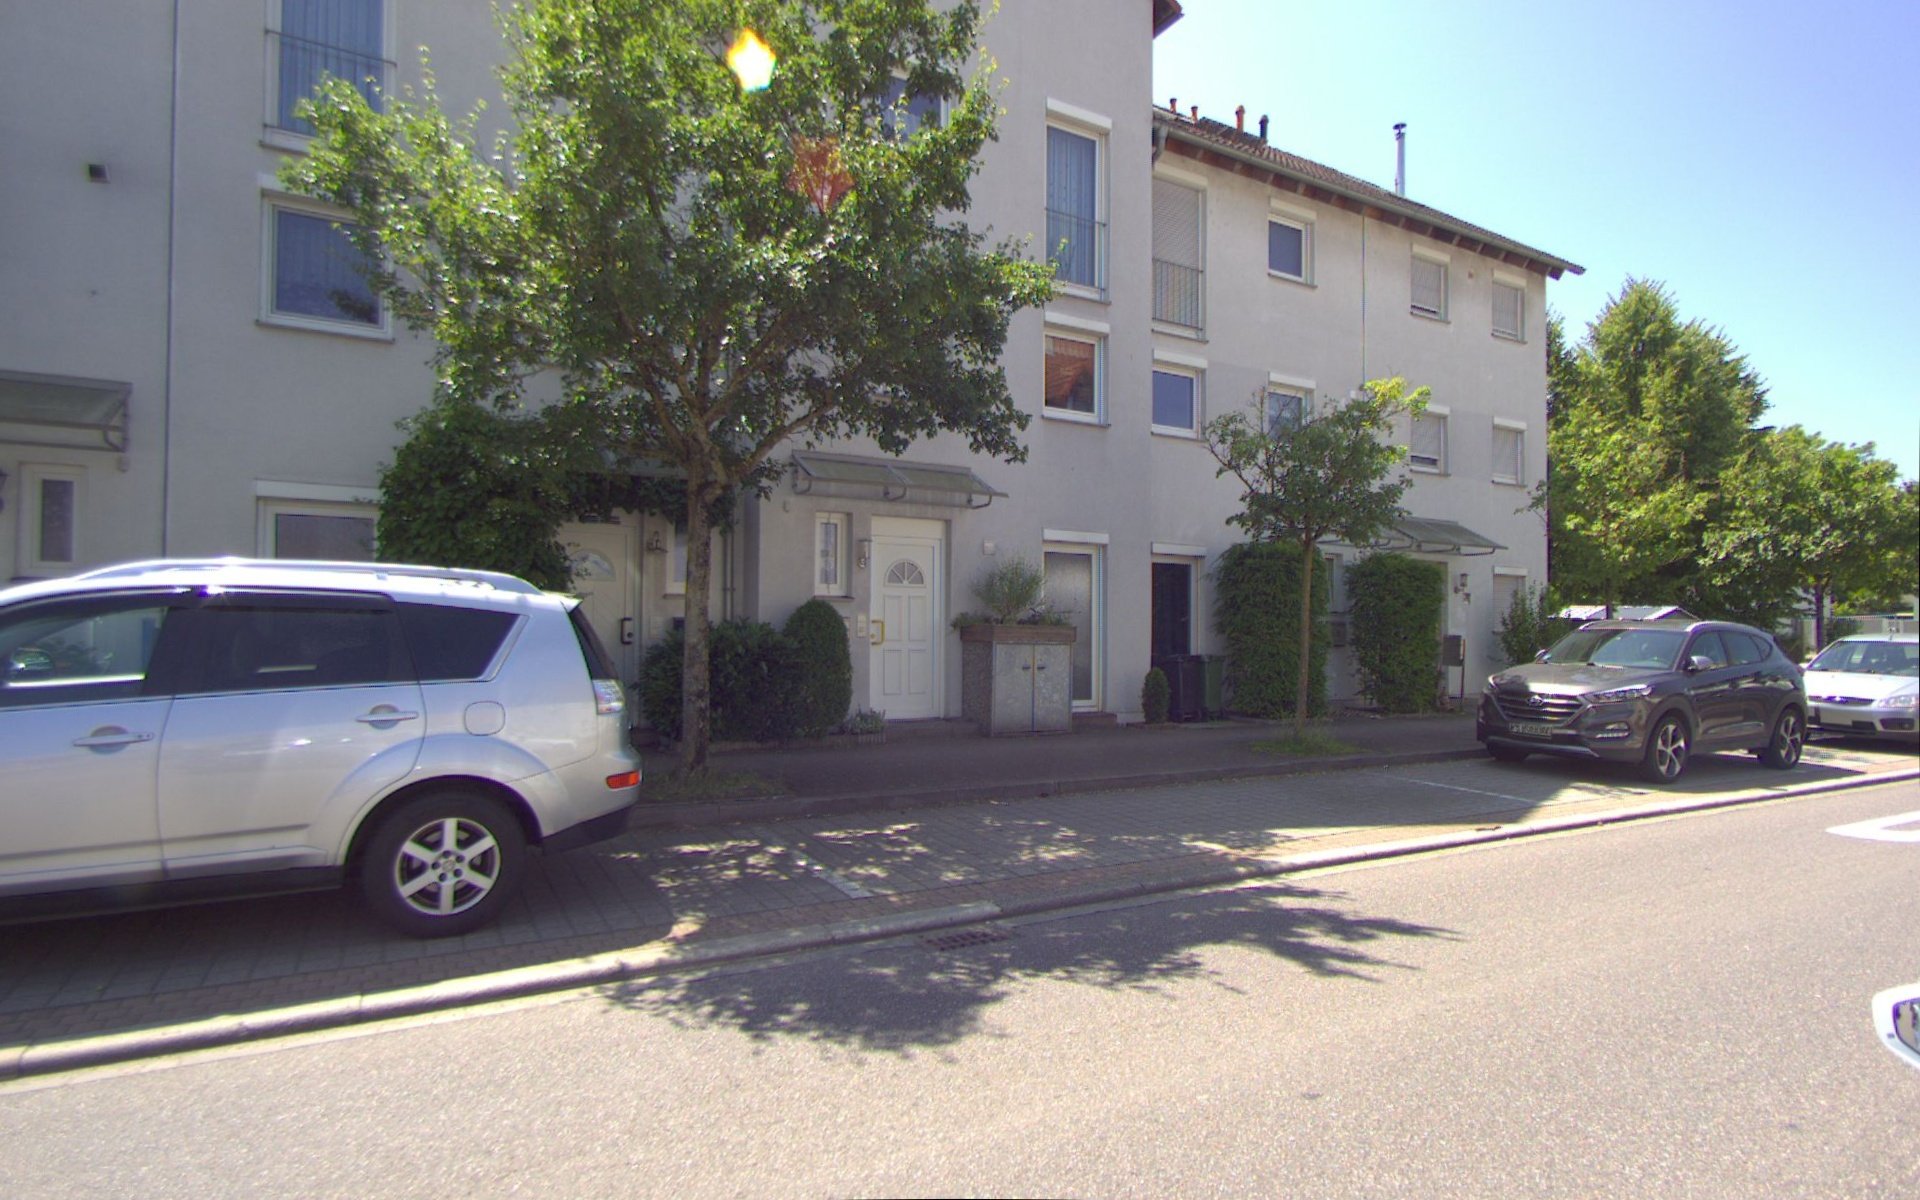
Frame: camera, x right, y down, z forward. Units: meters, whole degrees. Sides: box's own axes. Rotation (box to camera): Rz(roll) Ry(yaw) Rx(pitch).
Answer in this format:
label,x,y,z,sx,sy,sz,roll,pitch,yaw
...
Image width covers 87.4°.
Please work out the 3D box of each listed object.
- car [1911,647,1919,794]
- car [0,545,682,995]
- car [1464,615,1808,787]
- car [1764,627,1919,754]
label,x,y,z,sx,sy,sz,roll,pitch,yaw
car,11.823,1.215,10.397,4.209,1.475,1.776,2,-4,-31
car,-3.780,0.653,4.713,4.475,1.709,1.697,2,-1,-31
car,7.744,1.041,11.442,3.950,1.641,1.684,2,-1,-30
car,13.624,1.243,14.690,3.794,1.602,1.689,2,-1,-31
